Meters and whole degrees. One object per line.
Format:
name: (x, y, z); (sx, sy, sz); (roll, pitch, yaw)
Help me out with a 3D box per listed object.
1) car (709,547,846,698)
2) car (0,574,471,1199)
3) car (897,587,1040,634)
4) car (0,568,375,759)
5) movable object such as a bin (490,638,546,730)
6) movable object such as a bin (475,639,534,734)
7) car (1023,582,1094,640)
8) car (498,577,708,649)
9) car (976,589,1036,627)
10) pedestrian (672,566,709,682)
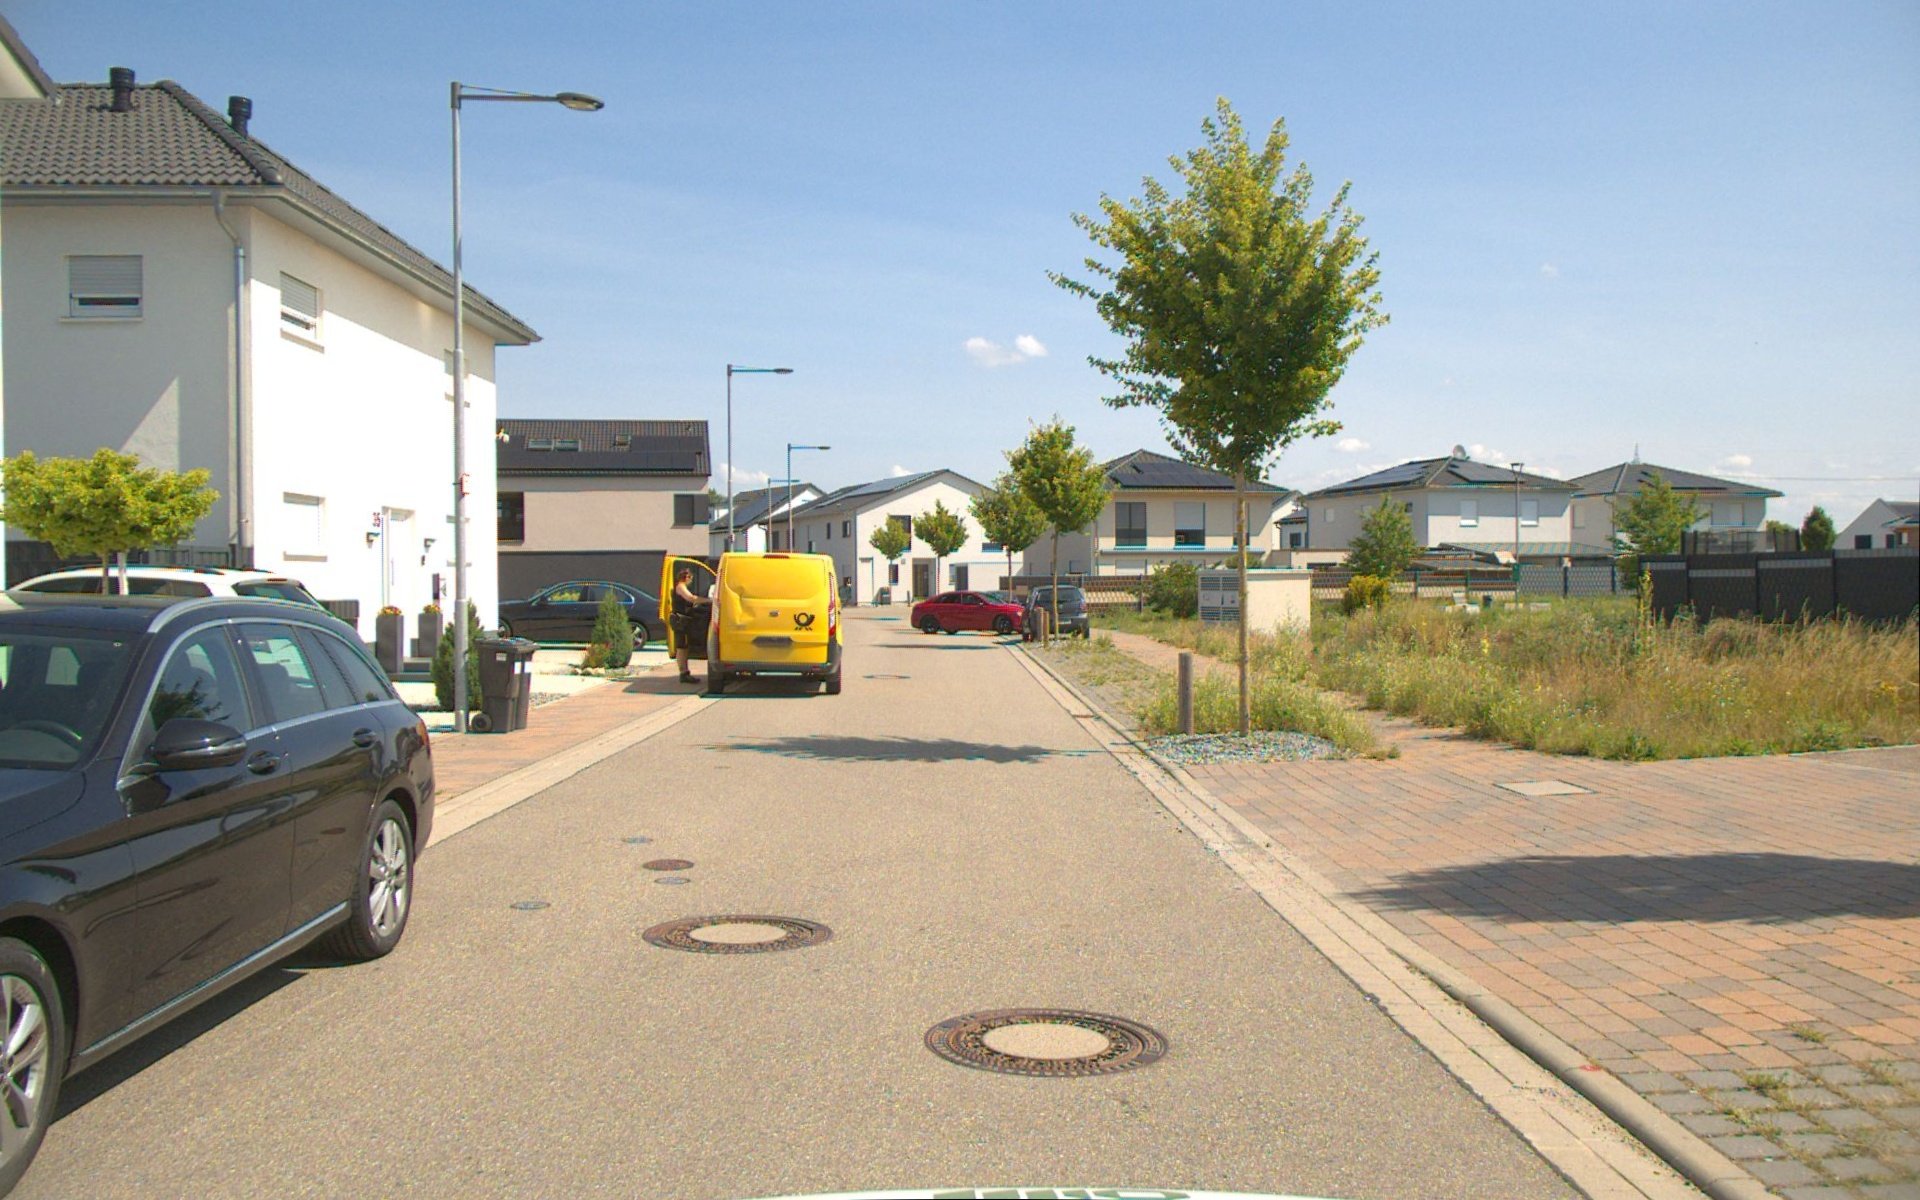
car: (-2.743, 0.307, 25.383); (1.847, 2.049, 4.836); (1, 0, -5)
car: (-3.066, 0.686, 5.317); (1.656, 1.498, 4.444); (2, 0, -1)
car: (0.269, 0.317, 54.736); (4.418, 1.463, 1.766); (1, 0, 28)
car: (-7.695, 0.535, 15.343); (3.872, 1.647, 1.795); (0, 0, 4)
movable object such as a bin: (-4.688, 0.883, 17.560); (0.476, 0.942, 0.530); (0, 0, -4)
movable object such as a bin: (-4.678, 0.880, 17.005); (0.476, 0.942, 0.530); (0, 0, -4)
car: (2.645, 0.265, 45.121); (1.566, 1.501, 3.673); (0, 0, -2)
car: (-7.697, 0.281, 35.715); (4.319, 1.477, 1.742); (0, 0, -15)
car: (1.748, 0.276, 64.149); (1.721, 1.387, 4.569); (1, 0, -6)
pedestrian: (-4.159, 0.370, 25.560); (0.521, 1.768, 0.569); (1, 0, -8)
